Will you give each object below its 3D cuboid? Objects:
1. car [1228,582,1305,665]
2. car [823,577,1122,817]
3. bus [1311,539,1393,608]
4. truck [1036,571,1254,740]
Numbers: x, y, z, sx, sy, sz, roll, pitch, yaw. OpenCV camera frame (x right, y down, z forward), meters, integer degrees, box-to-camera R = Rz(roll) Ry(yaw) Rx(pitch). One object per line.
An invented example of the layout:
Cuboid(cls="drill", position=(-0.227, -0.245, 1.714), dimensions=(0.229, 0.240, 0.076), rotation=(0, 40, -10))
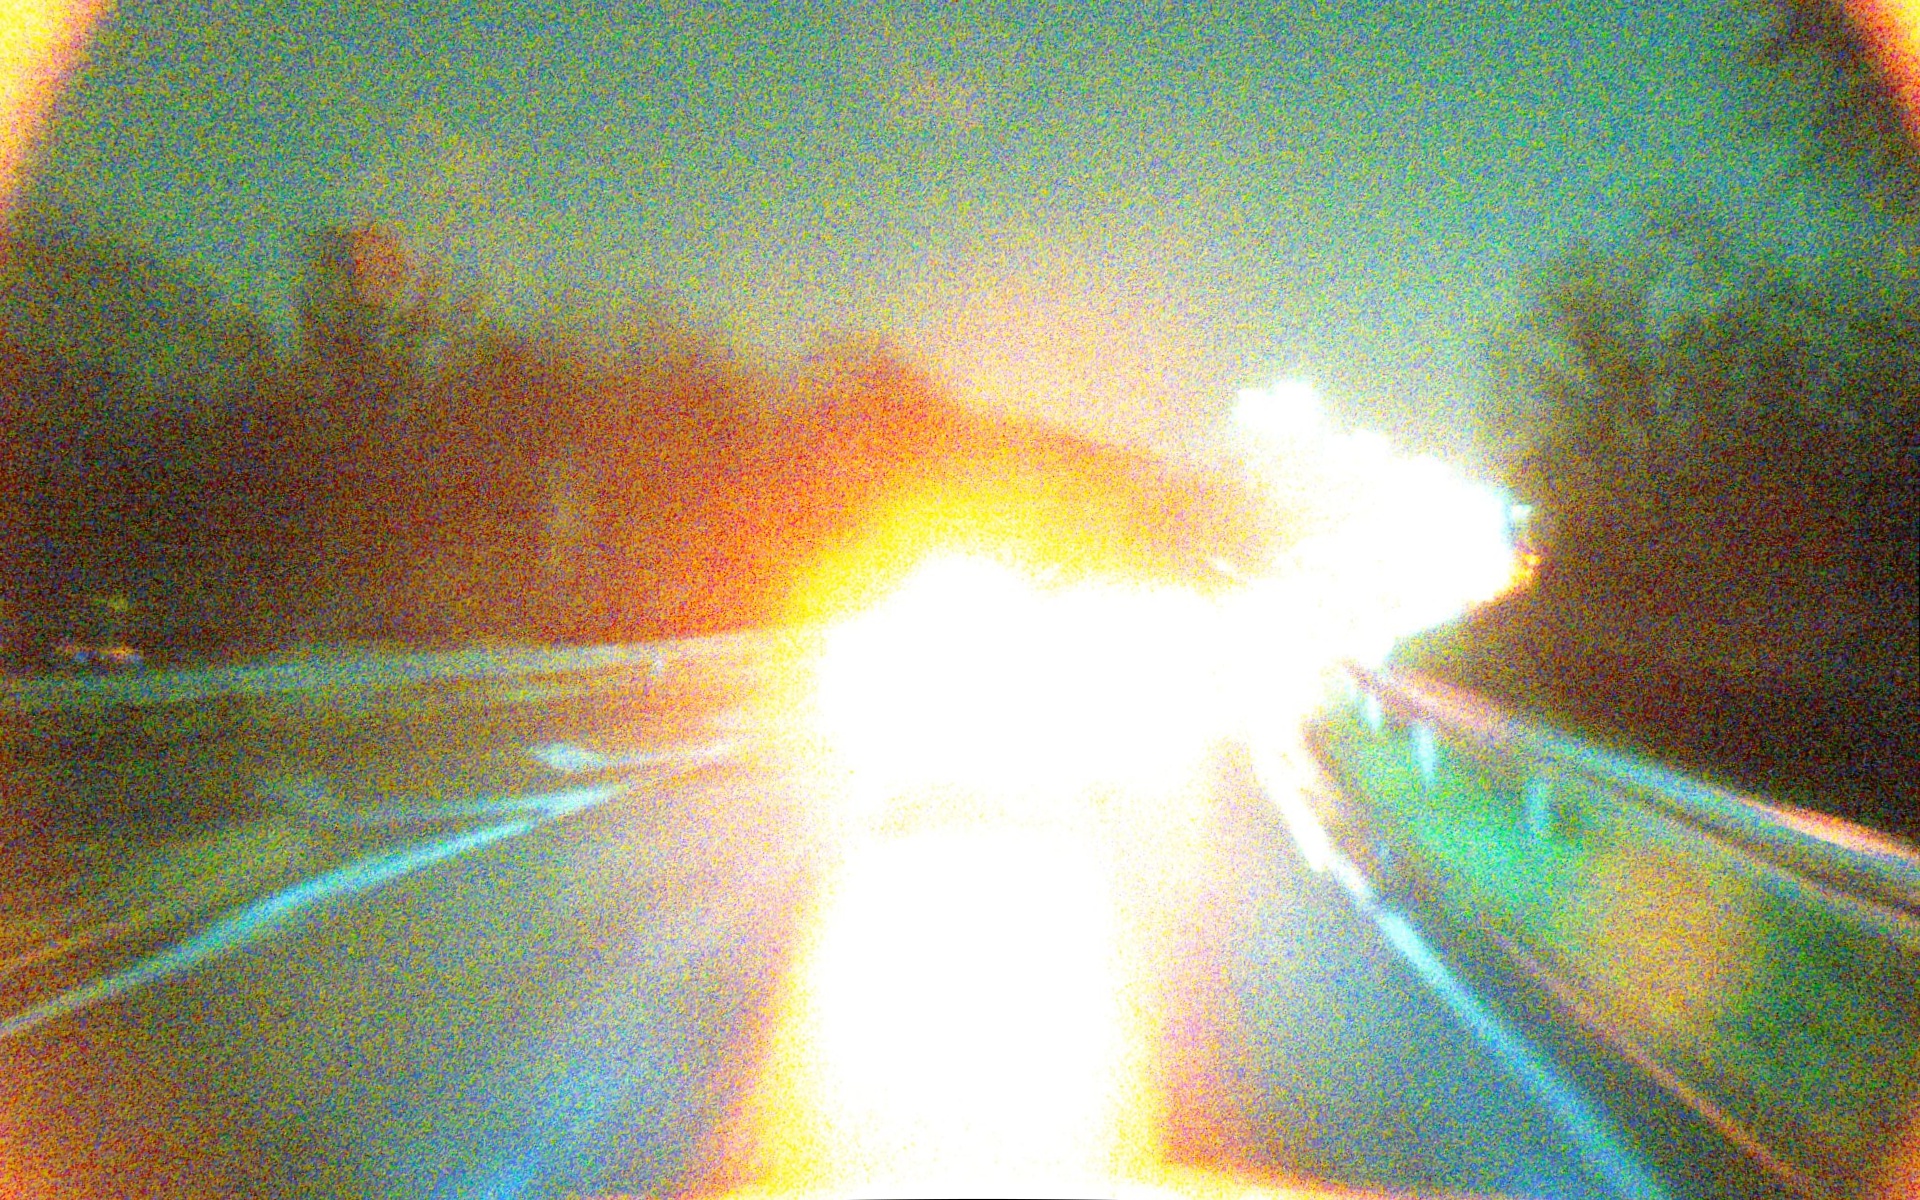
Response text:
Cuboid(cls="car", position=(7.702, 0.577, 41.482), dimensions=(1.797, 1.982, 4.003), rotation=(0, -1, 11))
Cuboid(cls="car", position=(0.246, 0.628, 12.495), dimensions=(1.903, 1.517, 3.718), rotation=(-1, 0, 5))
Cuboid(cls="bus", position=(19.190, -1.280, 80.594), dimensions=(2.687, 3.178, 9.202), rotation=(0, 1, 21))
Cuboid(cls="truck", position=(3.460, 0.871, 29.020), dimensions=(3.004, 2.573, 7.172), rotation=(0, 0, 13))
